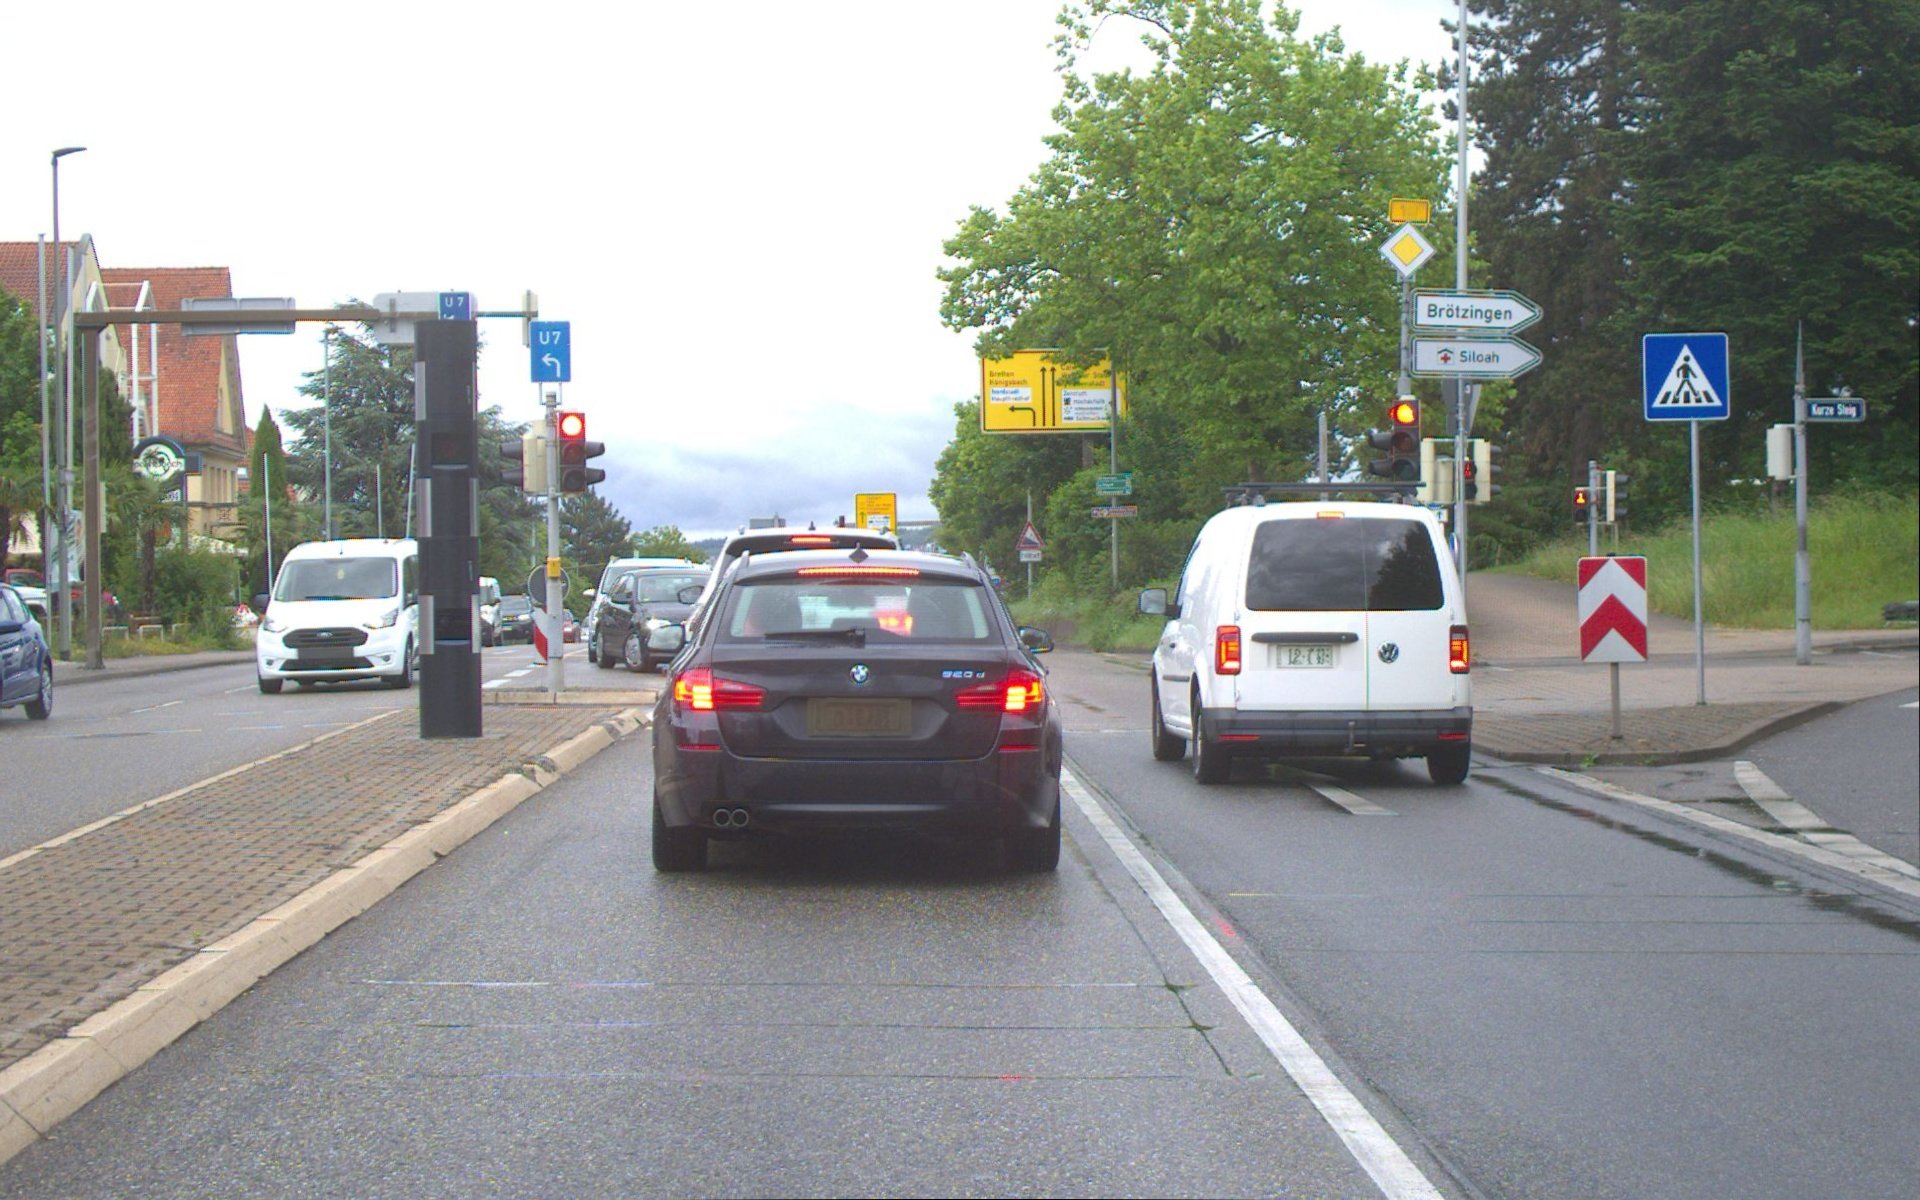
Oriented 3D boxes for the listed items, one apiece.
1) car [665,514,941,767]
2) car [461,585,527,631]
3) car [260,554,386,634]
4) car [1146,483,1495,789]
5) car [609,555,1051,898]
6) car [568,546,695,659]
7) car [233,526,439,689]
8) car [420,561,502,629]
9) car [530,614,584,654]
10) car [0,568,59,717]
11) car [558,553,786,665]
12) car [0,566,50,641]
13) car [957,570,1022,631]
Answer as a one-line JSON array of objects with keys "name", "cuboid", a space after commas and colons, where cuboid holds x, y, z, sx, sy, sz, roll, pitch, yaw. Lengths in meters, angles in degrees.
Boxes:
[{"name": "car", "cuboid": [-1.079, 0.247, 25.095, 1.728, 1.705, 3.382, 1, 1, 2]}, {"name": "car", "cuboid": [-14.563, 0.235, 107.546, 1.667, 1.349, 3.443, -1, 1, -2]}, {"name": "car", "cuboid": [-11.669, -0.134, 63.203, 1.667, 1.377, 4.072, -1, 1, -2]}, {"name": "car", "cuboid": [2.324, 0.180, 23.088, 1.741, 1.863, 3.946, 1, 1, -3]}, {"name": "car", "cuboid": [-0.512, 0.508, 16.527, 1.855, 1.414, 3.957, 1, 1, 1]}, {"name": "car", "cuboid": [-5.155, 0.022, 54.280, 1.734, 1.686, 4.000, -1, 0, -2]}, {"name": "car", "cuboid": [-7.619, 0.065, 42.361, 1.857, 1.817, 4.580, -2, 1, -3]}, {"name": "car", "cuboid": [-12.861, -0.145, 88.709, 1.667, 1.664, 3.683, -1, 1, -2]}, {"name": "car", "cuboid": [-14.755, 1.230, 126.023, 1.667, 1.349, 3.443, -1, 1, -2]}, {"name": "car", "cuboid": [-10.014, 0.439, 33.378, 1.634, 1.377, 3.766, -2, 1, -3]}, {"name": "car", "cuboid": [-4.003, 0.096, 47.170, 1.894, 1.451, 4.098, 1, 1, -23]}, {"name": "car", "cuboid": [-20.158, 0.099, 67.304, 4.193, 1.451, 1.801, -1, 1, -29]}, {"name": "car", "cuboid": [0.741, 0.000, 87.958, 1.600, 1.367, 3.680, -1, 2, 0]}]
